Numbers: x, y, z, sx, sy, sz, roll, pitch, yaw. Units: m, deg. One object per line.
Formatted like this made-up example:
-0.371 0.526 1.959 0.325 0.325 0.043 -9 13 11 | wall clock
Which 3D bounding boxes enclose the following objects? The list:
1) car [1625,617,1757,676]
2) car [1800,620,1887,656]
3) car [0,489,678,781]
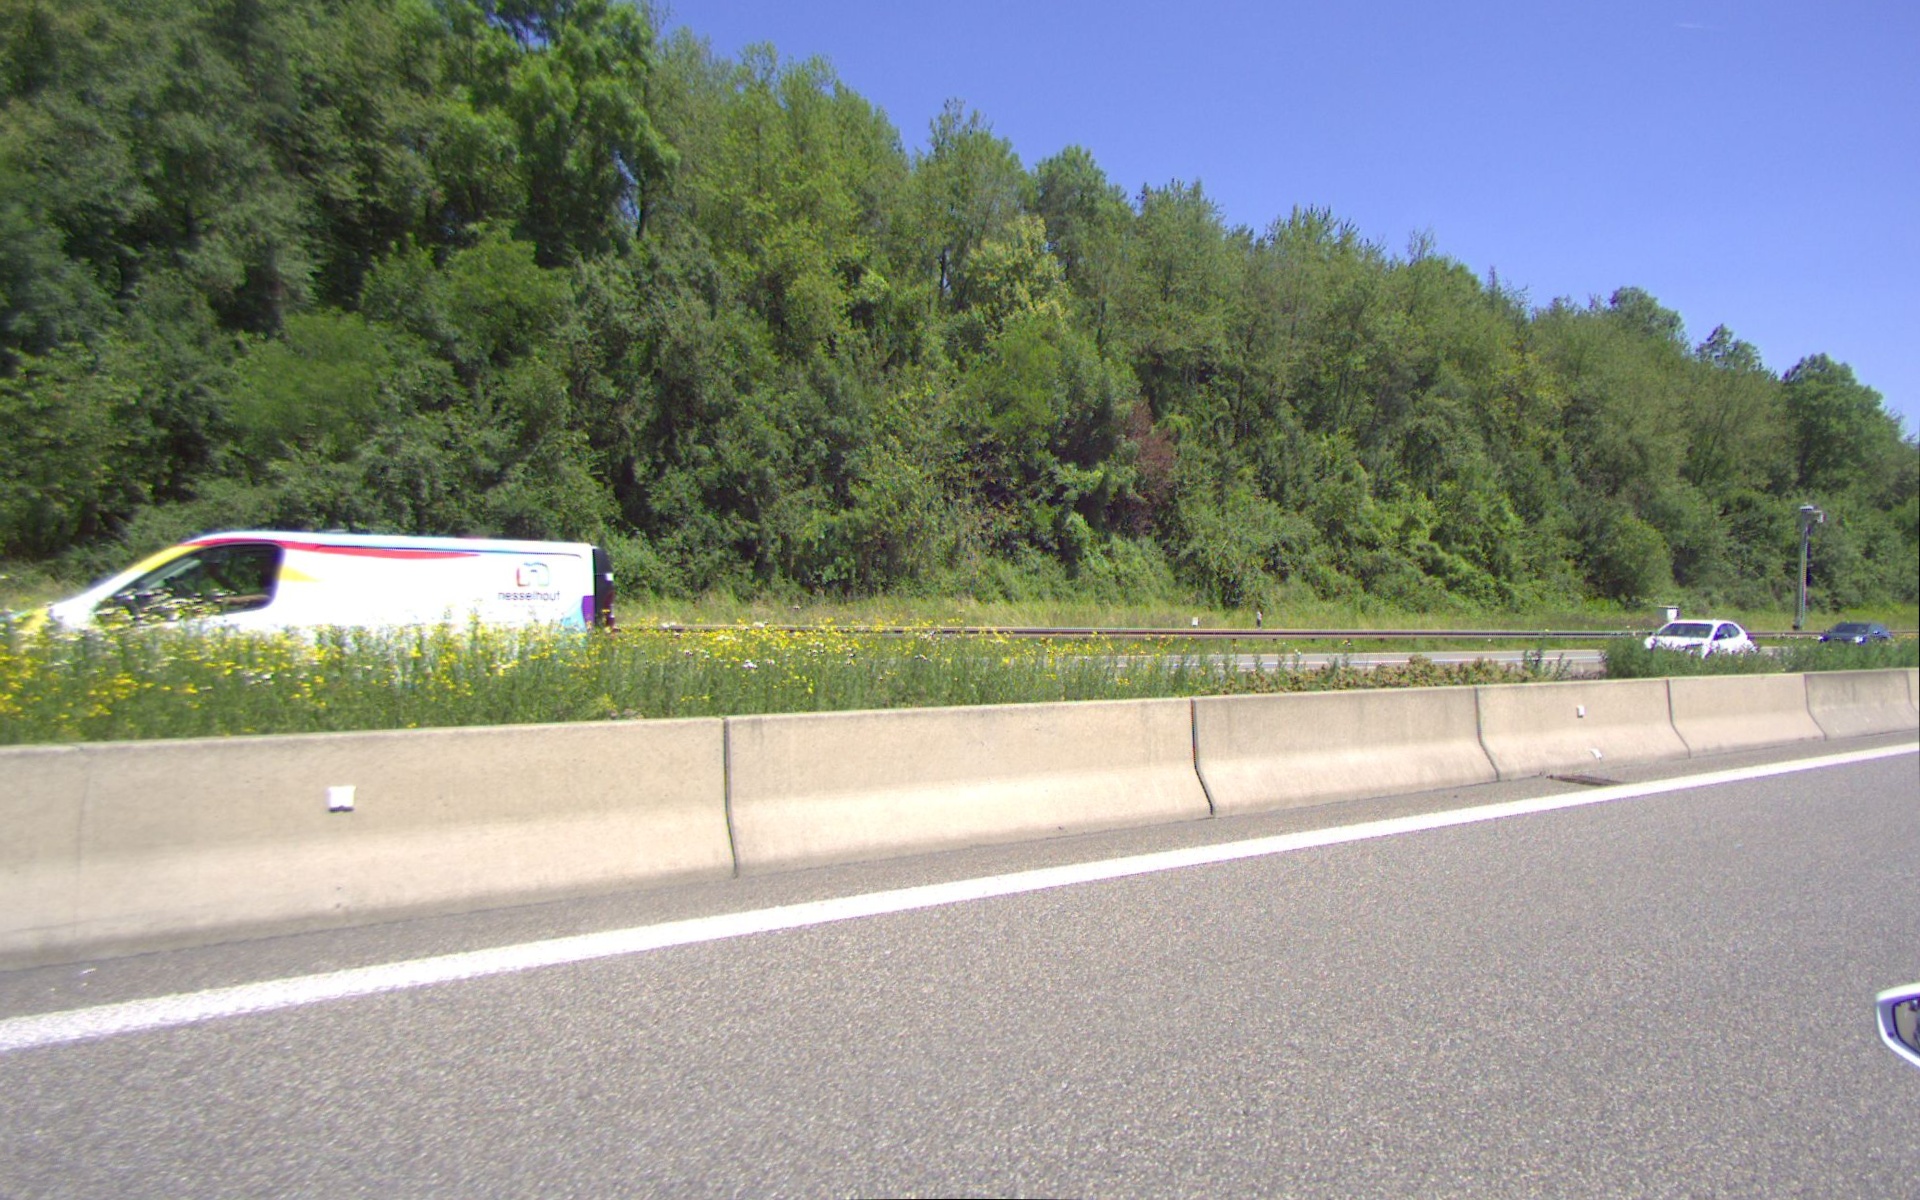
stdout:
20.552 1.284 28.217 3.785 1.528 1.662 1 0 -31 | car
40.468 1.709 46.008 3.956 1.528 1.983 1 0 -32 | car
-5.239 0.308 9.046 4.843 2.040 1.984 2 0 -30 | car
